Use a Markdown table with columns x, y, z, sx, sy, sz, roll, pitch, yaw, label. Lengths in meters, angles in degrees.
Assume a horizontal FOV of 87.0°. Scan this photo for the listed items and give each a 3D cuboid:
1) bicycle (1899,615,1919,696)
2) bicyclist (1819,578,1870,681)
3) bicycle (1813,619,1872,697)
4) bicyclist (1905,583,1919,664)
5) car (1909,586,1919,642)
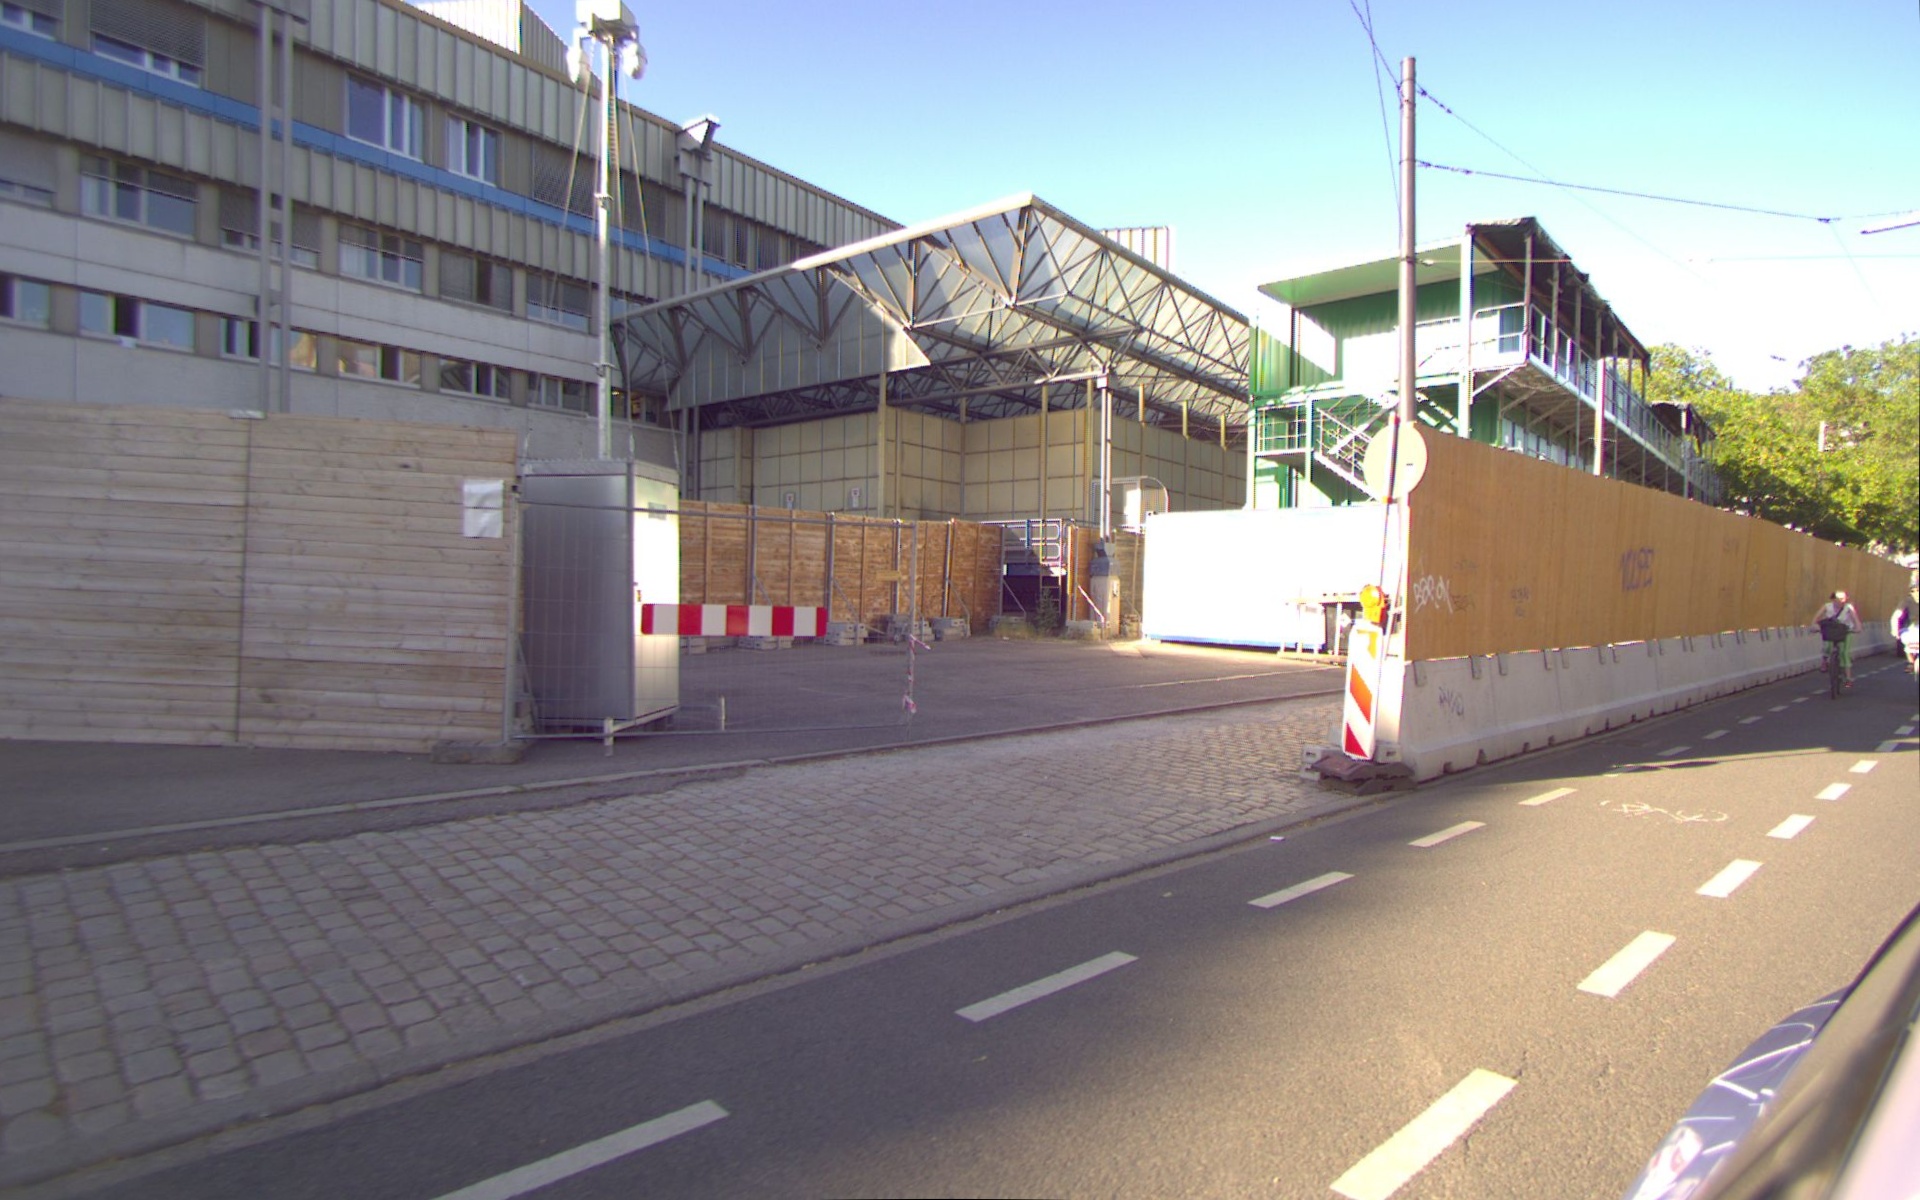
| x | y | z | sx | sy | sz | roll | pitch | yaw | label |
| --- | --- | --- | --- | --- | --- | --- | --- | --- | --- |
| 14.974 | 0.828 | 15.539 | 2.238 | 1.169 | 0.667 | 0 | -1 | -44 | bicycle |
| 14.460 | 0.463 | 16.542 | 0.567 | 1.633 | 0.556 | 0 | 1 | -44 | bicyclist |
| 14.260 | 0.891 | 16.331 | 2.239 | 1.141 | 0.557 | 0 | 0 | -45 | bicycle |
| 15.137 | 0.368 | 15.702 | 0.348 | 1.253 | 0.652 | 0 | 1 | -44 | bicyclist |
| 30.425 | 0.488 | 30.935 | 4.098 | 1.642 | 1.748 | 2 | -1 | -42 | car |
